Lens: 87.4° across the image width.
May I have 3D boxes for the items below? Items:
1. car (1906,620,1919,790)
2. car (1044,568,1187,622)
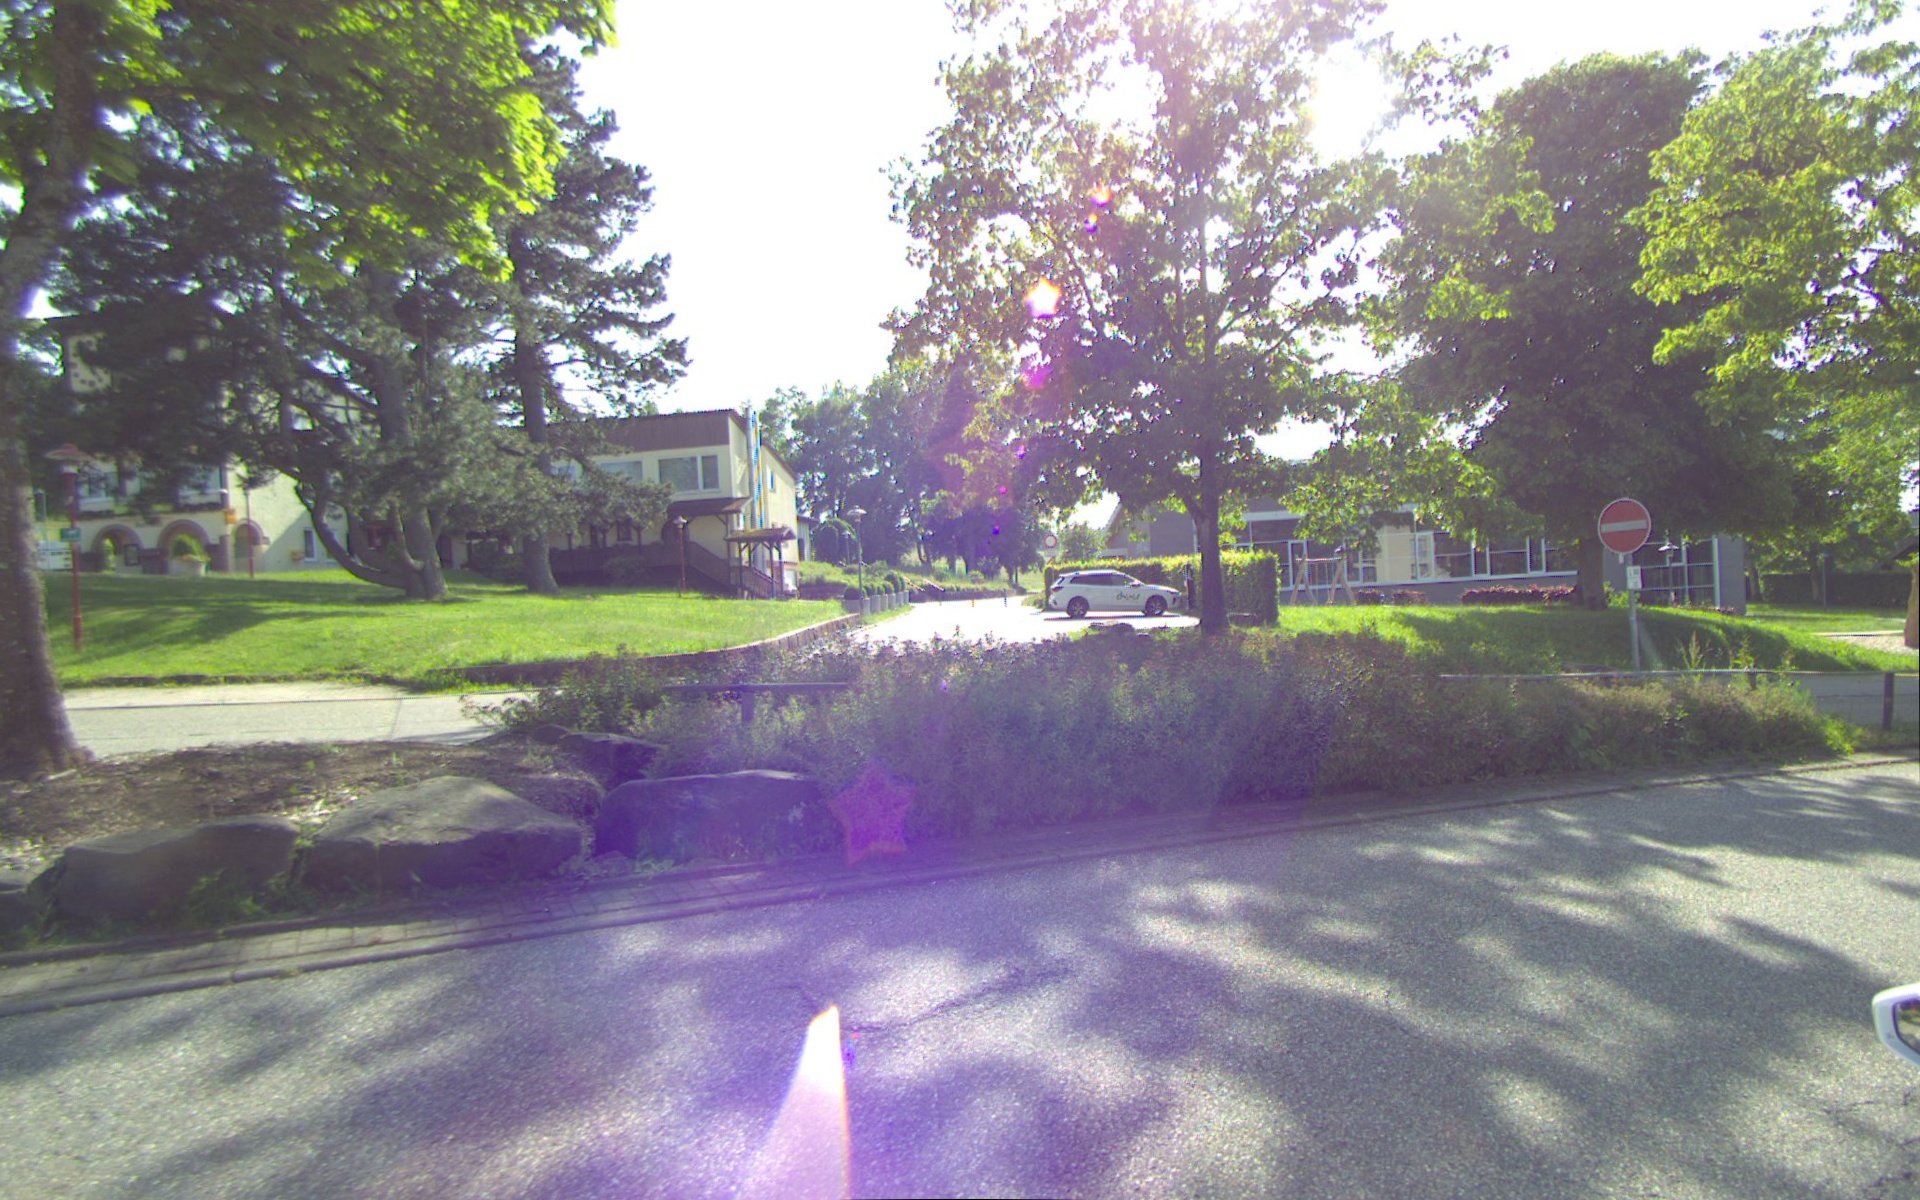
[{"bbox_3d":[10.424,0.939,8.802,4.009,1.462,1.724,1,0,-24],"label":"car"},{"bbox_3d":[5.295,-0.208,34.657,4.636,1.555,2.000,-2,4,2],"label":"car"}]
